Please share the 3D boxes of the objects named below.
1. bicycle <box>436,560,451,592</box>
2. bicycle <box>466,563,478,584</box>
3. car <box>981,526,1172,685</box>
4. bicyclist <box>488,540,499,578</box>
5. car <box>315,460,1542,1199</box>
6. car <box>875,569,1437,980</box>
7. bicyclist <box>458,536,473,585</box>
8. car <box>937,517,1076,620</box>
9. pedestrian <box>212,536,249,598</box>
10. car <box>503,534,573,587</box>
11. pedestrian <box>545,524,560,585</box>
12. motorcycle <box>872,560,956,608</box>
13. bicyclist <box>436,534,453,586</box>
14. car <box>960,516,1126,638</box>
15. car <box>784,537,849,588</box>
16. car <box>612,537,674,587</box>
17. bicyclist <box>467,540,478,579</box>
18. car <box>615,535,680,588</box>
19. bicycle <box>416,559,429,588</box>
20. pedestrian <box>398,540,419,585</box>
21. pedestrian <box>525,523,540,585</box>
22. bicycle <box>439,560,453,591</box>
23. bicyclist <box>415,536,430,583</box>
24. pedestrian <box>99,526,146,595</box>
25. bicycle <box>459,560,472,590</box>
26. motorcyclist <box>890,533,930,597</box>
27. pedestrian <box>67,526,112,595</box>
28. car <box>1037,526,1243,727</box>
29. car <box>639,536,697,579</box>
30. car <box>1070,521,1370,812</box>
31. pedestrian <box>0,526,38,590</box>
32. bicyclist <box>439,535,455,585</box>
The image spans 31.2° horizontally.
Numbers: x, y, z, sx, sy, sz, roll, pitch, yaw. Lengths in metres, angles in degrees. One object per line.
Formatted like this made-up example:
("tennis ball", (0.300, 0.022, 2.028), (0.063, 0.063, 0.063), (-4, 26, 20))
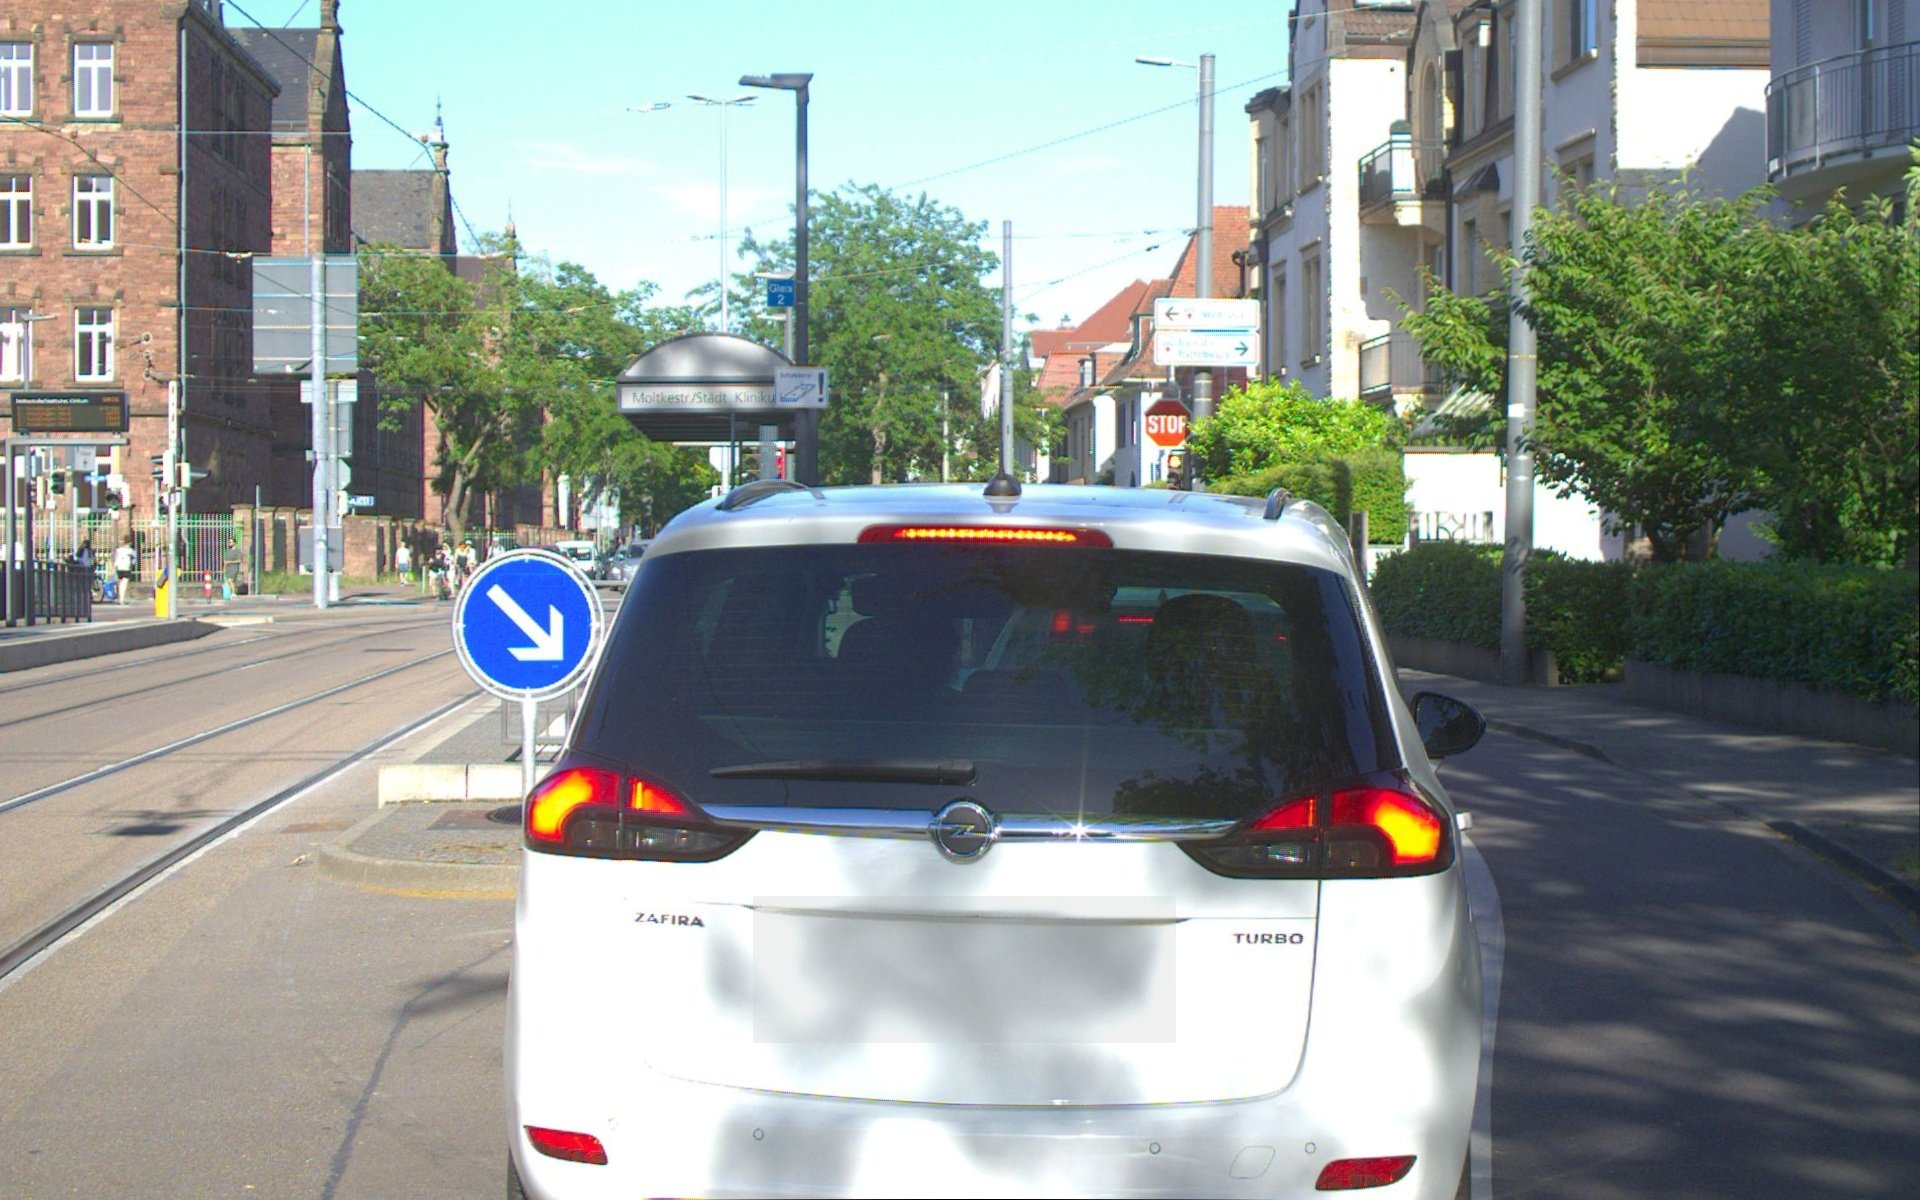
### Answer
("bicycle", (-15.487, -0.730, 103.076), (0.344, 0.946, 1.160), (1, 1, -4))
("bicycle", (-16.635, -0.907, 117.243), (0.344, 0.722, 0.997), (1, 1, -4))
("car", (1.172, 0.021, 36.173), (1.830, 1.574, 4.010), (0, 1, -1))
("bicyclist", (-15.928, -1.394, 117.463), (0.359, 1.299, 0.398), (0, 1, -4))
("car", (0.133, 0.583, 7.596), (1.994, 1.639, 3.992), (1, 1, 6))
("car", (0.741, 0.588, 13.976), (1.953, 1.392, 4.000), (0, 1, 2))
("bicyclist", (-15.693, -1.260, 109.144), (0.444, 1.548, 0.496), (0, 1, -4))
("car", (0.662, -0.494, 51.753), (1.993, 1.497, 4.000), (0, 1, -1))
("pedestrian", (-20.465, -0.925, 96.476), (0.735, 1.708, 0.705), (1, 0, 22))
("car", (-13.120, -1.240, 107.081), (1.993, 1.623, 4.001), (0, 1, -5))
("pedestrian", (-13.303, -1.488, 112.245), (0.444, 2.007, 0.496), (0, 1, -4))
("motorcycle", (-1.173, -0.414, 87.368), (2.068, 1.194, 0.613), (0, 1, -26))
("bicyclist", (-15.478, -1.199, 103.277), (0.444, 1.548, 0.743), (0, 1, -4))
("car", (1.016, -0.324, 44.293), (1.993, 1.497, 4.000), (0, 1, -1))
("car", (-4.645, -1.215, 110.921), (1.993, 1.623, 4.001), (0, 1, -4))
("car", (-10.537, -1.287, 114.410), (1.993, 1.623, 4.001), (0, 1, -5))
("bicyclist", (-16.623, -1.381, 117.243), (0.344, 1.315, 0.405), (1, 0, -4))
("car", (-9.740, -1.204, 107.304), (1.993, 1.623, 4.001), (0, 1, -5))
("bicycle", (-17.991, -0.888, 115.133), (0.344, 0.946, 0.997), (1, 0, -4))
("pedestrian", (-21.452, -1.456, 133.749), (0.734, 1.708, 0.754), (1, 0, -6))
("pedestrian", (-13.911, -1.493, 111.938), (0.444, 2.007, 0.496), (0, 1, -4))
("bicycle", (-15.933, -0.772, 106.609), (0.344, 0.946, 0.997), (1, 0, -4))
("bicyclist", (-17.986, -1.353, 115.089), (0.444, 1.548, 0.496), (0, 1, -4))
("pedestrian", (-20.495, -0.967, 84.169), (0.895, 1.678, 1.029), (1, 0, -1))
("bicycle", (-15.702, -0.795, 109.158), (0.344, 0.946, 0.997), (1, 0, -4))
("motorcyclist", (-1.274, -0.891, 87.308), (0.842, 1.616, 0.615), (0, 1, -27))
("pedestrian", (-21.519, -0.983, 84.983), (0.843, 1.686, 1.029), (1, 0, -1))
("car", (1.489, 0.176, 29.249), (1.637, 1.595, 3.854), (0, 1, 2))
("car", (-11.085, -1.634, 130.647), (1.993, 1.623, 4.001), (0, 1, -2))
("car", (1.488, 0.329, 20.821), (1.637, 1.595, 3.854), (0, 1, 2))
("pedestrian", (-23.304, -1.036, 84.927), (0.802, 1.583, 0.935), (1, 0, -3))
("bicyclist", (-15.897, -1.237, 106.559), (0.444, 1.548, 0.496), (0, 1, -4))
